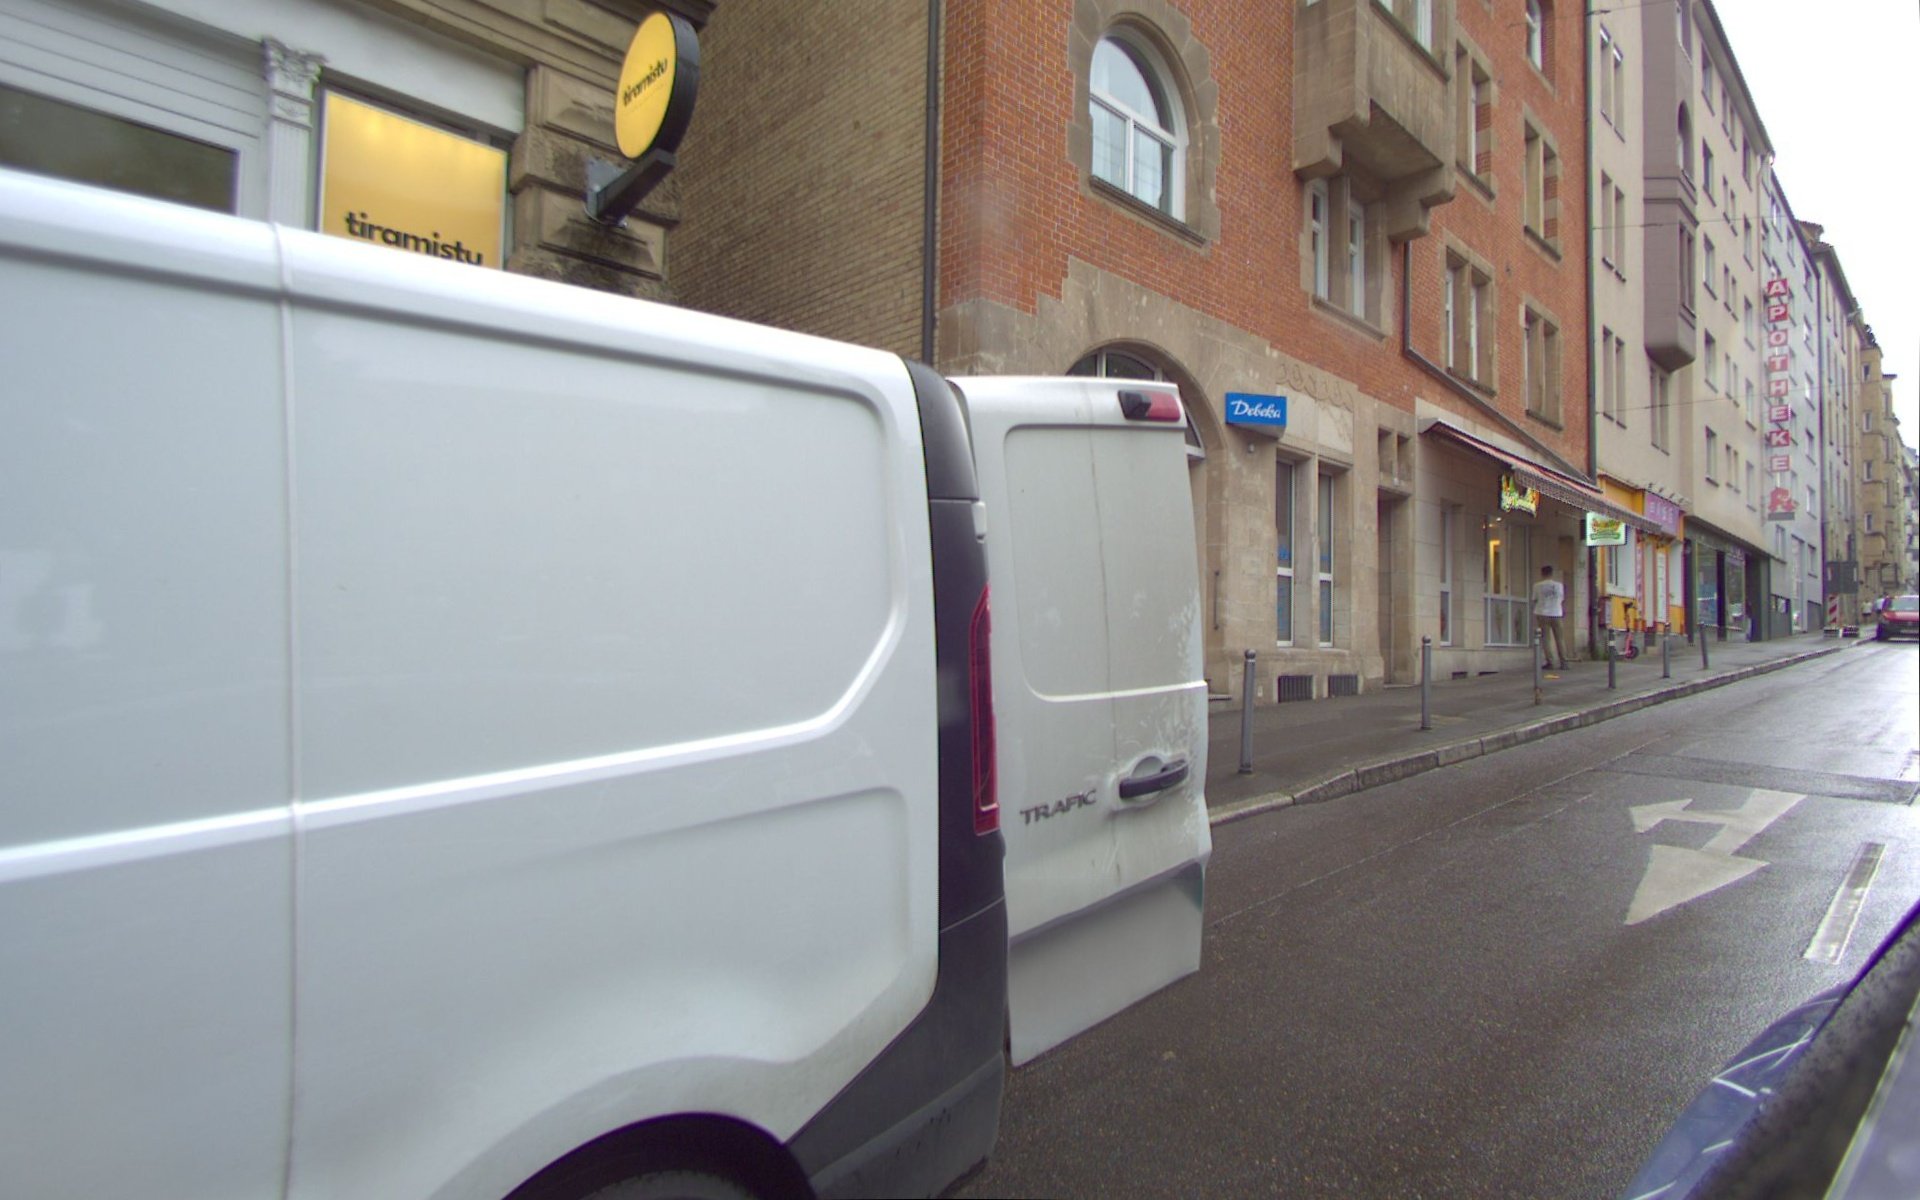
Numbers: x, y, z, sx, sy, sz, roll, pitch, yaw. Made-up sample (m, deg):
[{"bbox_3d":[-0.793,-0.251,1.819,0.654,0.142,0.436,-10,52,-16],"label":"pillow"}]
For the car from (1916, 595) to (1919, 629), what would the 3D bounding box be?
[{"bbox_3d":[49.973,0.624,51.380,4.423,1.730,1.767,1,-1,-43],"label":"car"}]

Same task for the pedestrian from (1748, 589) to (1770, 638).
[{"bbox_3d":[27.804,0.469,35.218,0.475,1.666,0.330,-1,-1,14],"label":"pedestrian"}]

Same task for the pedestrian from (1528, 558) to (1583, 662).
[{"bbox_3d":[10.793,0.172,18.356,0.568,1.852,0.564,1,2,-5],"label":"pedestrian"}]

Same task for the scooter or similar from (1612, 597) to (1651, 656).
[{"bbox_3d":[14.326,0.559,21.597,1.171,1.237,0.258,1,-2,-34],"label":"scooter or similar"}]

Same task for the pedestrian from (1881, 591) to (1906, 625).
[{"bbox_3d":[48.471,0.426,52.561,0.823,1.780,0.852,1,-2,-43],"label":"pedestrian"}]

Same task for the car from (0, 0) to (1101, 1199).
[{"bbox_3d":[-2.053,0.411,1.181,4.606,1.960,1.923,0,-1,-43],"label":"car"}]

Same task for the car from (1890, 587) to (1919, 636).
[{"bbox_3d":[38.743,0.429,40.559,1.975,1.861,5.161,0,0,44],"label":"car"}]
